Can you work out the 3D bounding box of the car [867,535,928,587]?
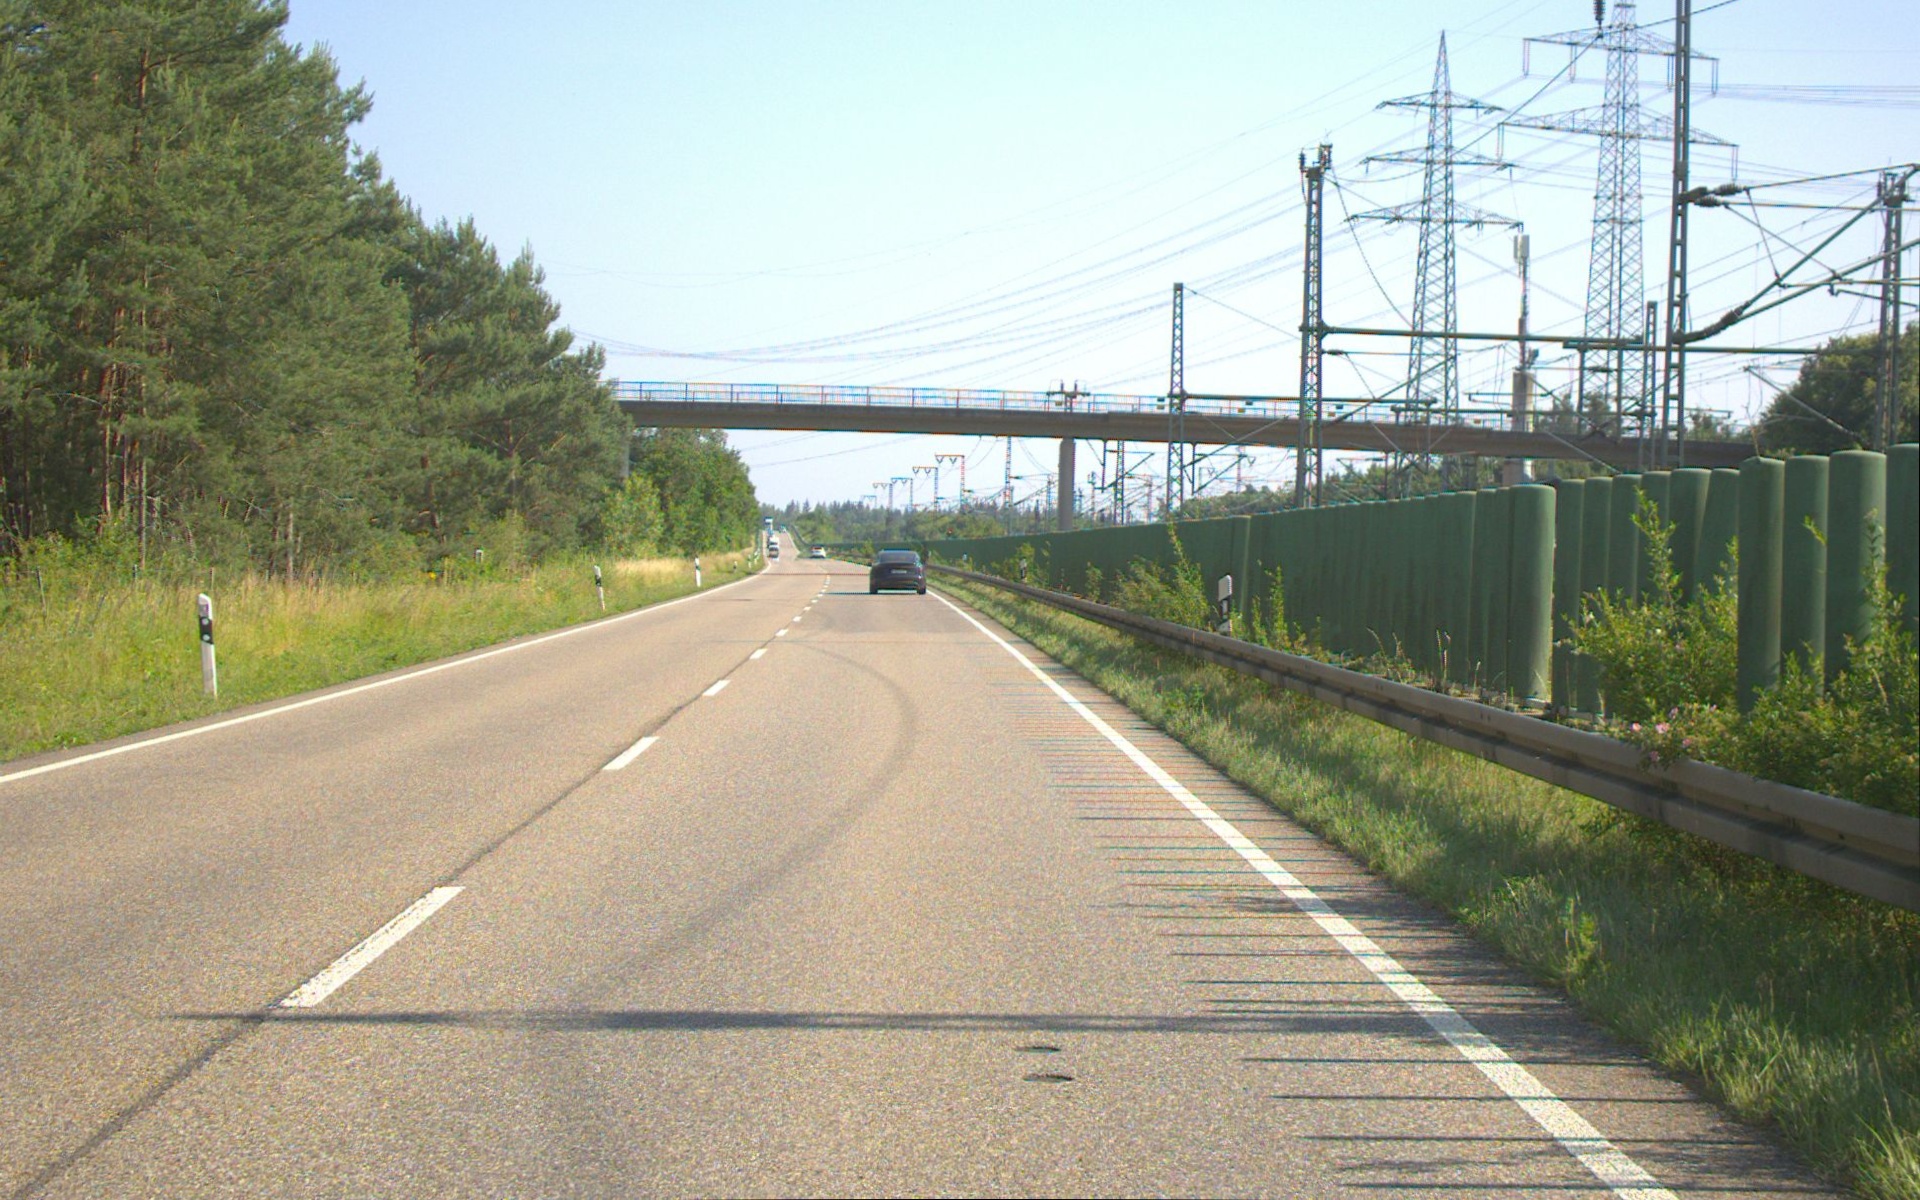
[{"bbox_3d":[-2.080,-1.303,113.564,1.858,1.636,4.001,-1,1,-3],"label":"car"}]
